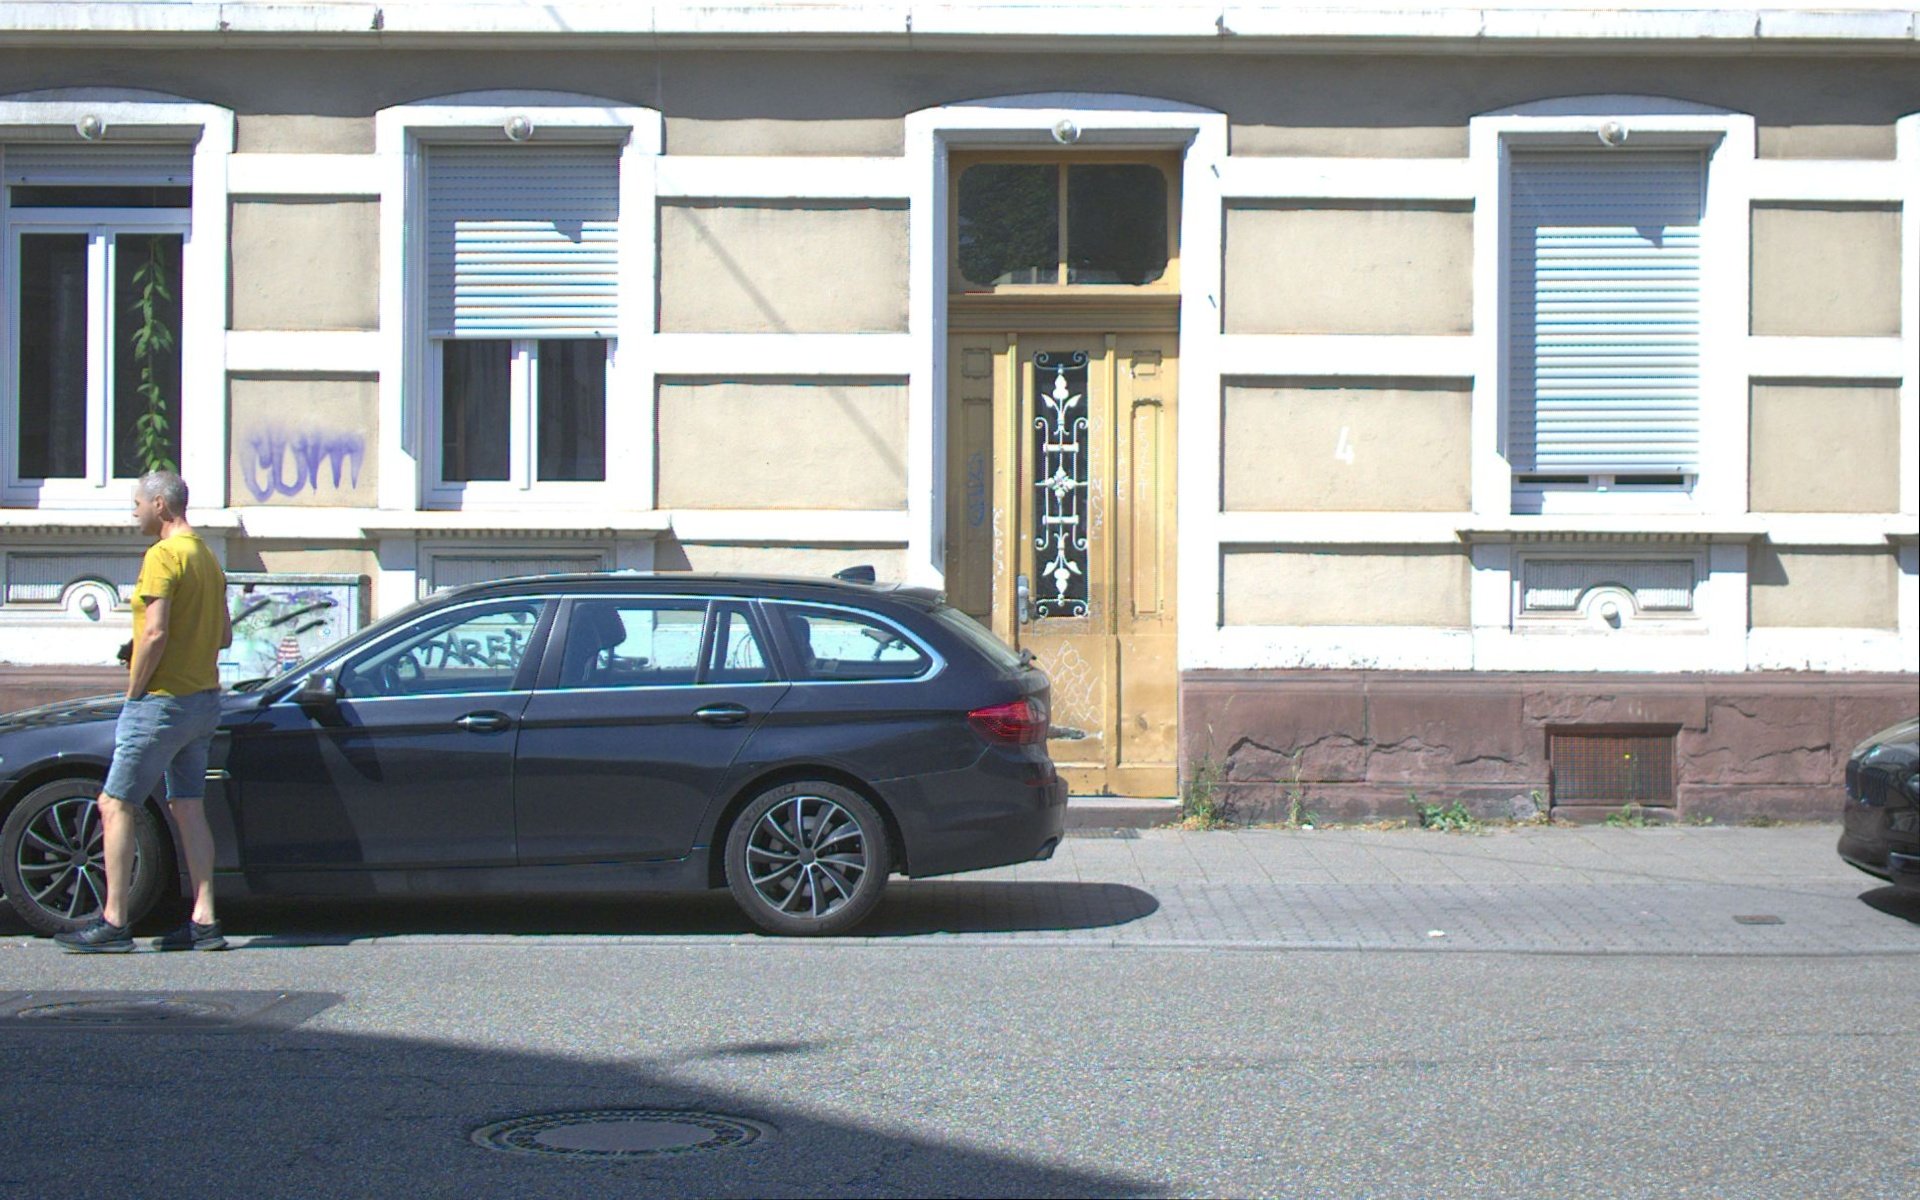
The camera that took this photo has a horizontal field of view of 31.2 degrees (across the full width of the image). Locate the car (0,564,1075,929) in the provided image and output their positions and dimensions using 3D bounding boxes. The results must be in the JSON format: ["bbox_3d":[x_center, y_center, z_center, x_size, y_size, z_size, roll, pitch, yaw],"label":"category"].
[{"bbox_3d":[-1.968,0.586,14.810,4.859,1.432,2.000,0,0,0],"label":"car"}]

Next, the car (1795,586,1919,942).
[{"bbox_3d":[5.977,0.650,14.863,4.294,1.365,1.807,0,3,0],"label":"car"}]

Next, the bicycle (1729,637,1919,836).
[{"bbox_3d":[5.173,0.721,18.433,2.004,1.018,0.424,0,3,-2],"label":"bicycle"}]

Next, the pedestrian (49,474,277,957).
[{"bbox_3d":[-3.130,0.443,13.548,0.724,1.847,0.685,0,0,0],"label":"pedestrian"}]
